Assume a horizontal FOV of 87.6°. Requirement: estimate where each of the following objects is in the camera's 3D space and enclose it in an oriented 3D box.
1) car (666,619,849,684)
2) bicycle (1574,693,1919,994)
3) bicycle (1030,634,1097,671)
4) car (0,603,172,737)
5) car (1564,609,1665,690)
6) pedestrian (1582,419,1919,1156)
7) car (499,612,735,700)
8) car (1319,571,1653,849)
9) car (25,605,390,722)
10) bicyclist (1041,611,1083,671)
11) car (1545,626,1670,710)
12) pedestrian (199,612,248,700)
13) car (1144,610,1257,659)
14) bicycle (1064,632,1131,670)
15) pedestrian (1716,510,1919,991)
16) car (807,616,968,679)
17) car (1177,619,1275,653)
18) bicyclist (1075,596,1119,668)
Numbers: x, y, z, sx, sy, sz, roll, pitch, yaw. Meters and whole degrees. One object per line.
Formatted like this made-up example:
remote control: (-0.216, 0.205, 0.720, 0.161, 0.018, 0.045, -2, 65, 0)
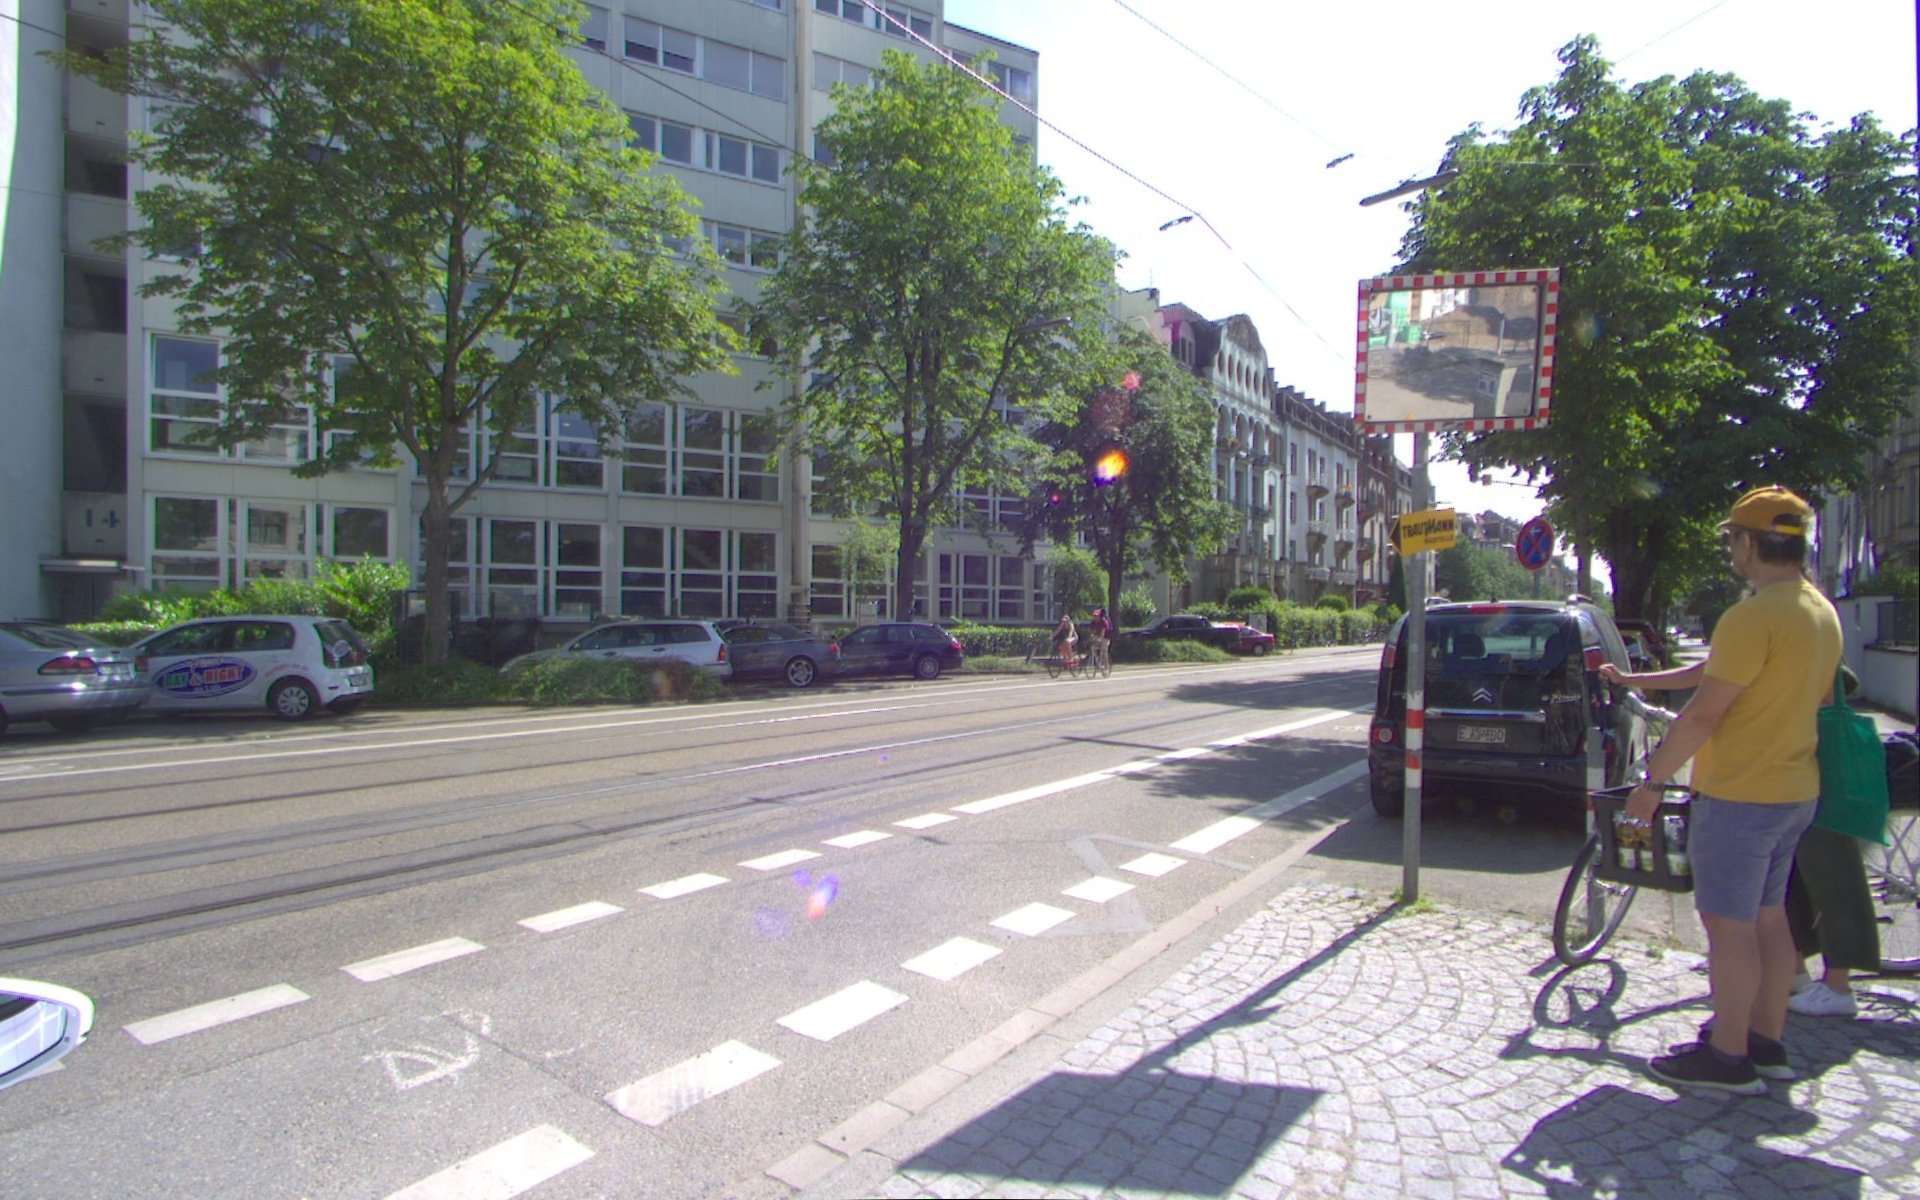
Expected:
car: (-4.475, 1.129, 22.377, 3.871, 1.374, 1.558, 0, -1, -10)
bicycle: (3.308, 0.920, 3.923, 1.486, 1.055, 0.363, 0, -1, 18)
bicycle: (2.796, 1.391, 26.861, 0.672, 0.929, 2.304, 0, -1, 38)
car: (-12.038, 0.798, 11.930, 3.870, 1.505, 1.613, 0, -1, -8)
car: (15.323, 1.108, 23.413, 1.832, 1.701, 3.977, -1, -2, 34)
pedestrian: (2.423, 0.493, 3.078, 0.841, 1.889, 0.826, -1, -1, 31)
car: (-6.645, 1.080, 19.827, 4.264, 1.624, 1.557, 0, -2, -12)
car: (4.533, 0.737, 8.307, 1.833, 1.705, 3.974, -1, -2, 37)
car: (-10.595, 0.857, 14.363, 3.870, 1.505, 1.612, -1, -1, -9)
bicyclist: (2.727, 1.074, 26.780, 0.795, 1.563, 0.858, 0, 0, 39)
car: (12.388, 1.211, 19.128, 1.832, 1.430, 3.977, -1, -2, 34)
pedestrian: (-12.703, 0.949, 17.265, 0.420, 1.480, 0.616, 0, -1, 44)
car: (9.579, 1.375, 40.037, 3.929, 1.884, 1.997, 0, -1, -17)
bicycle: (3.595, 1.310, 25.974, 0.672, 0.929, 2.304, -1, -2, 38)
pedestrian: (3.139, 0.518, 3.688, 0.445, 1.642, 0.421, 0, 0, 18)
car: (-1.850, 1.174, 25.072, 3.871, 1.505, 1.558, 0, -1, -10)
car: (12.290, 1.654, 46.443, 3.925, 1.527, 1.999, 0, -1, -10)
bicyclist: (3.564, 0.826, 26.058, 0.795, 1.824, 0.858, -1, -1, 39)
